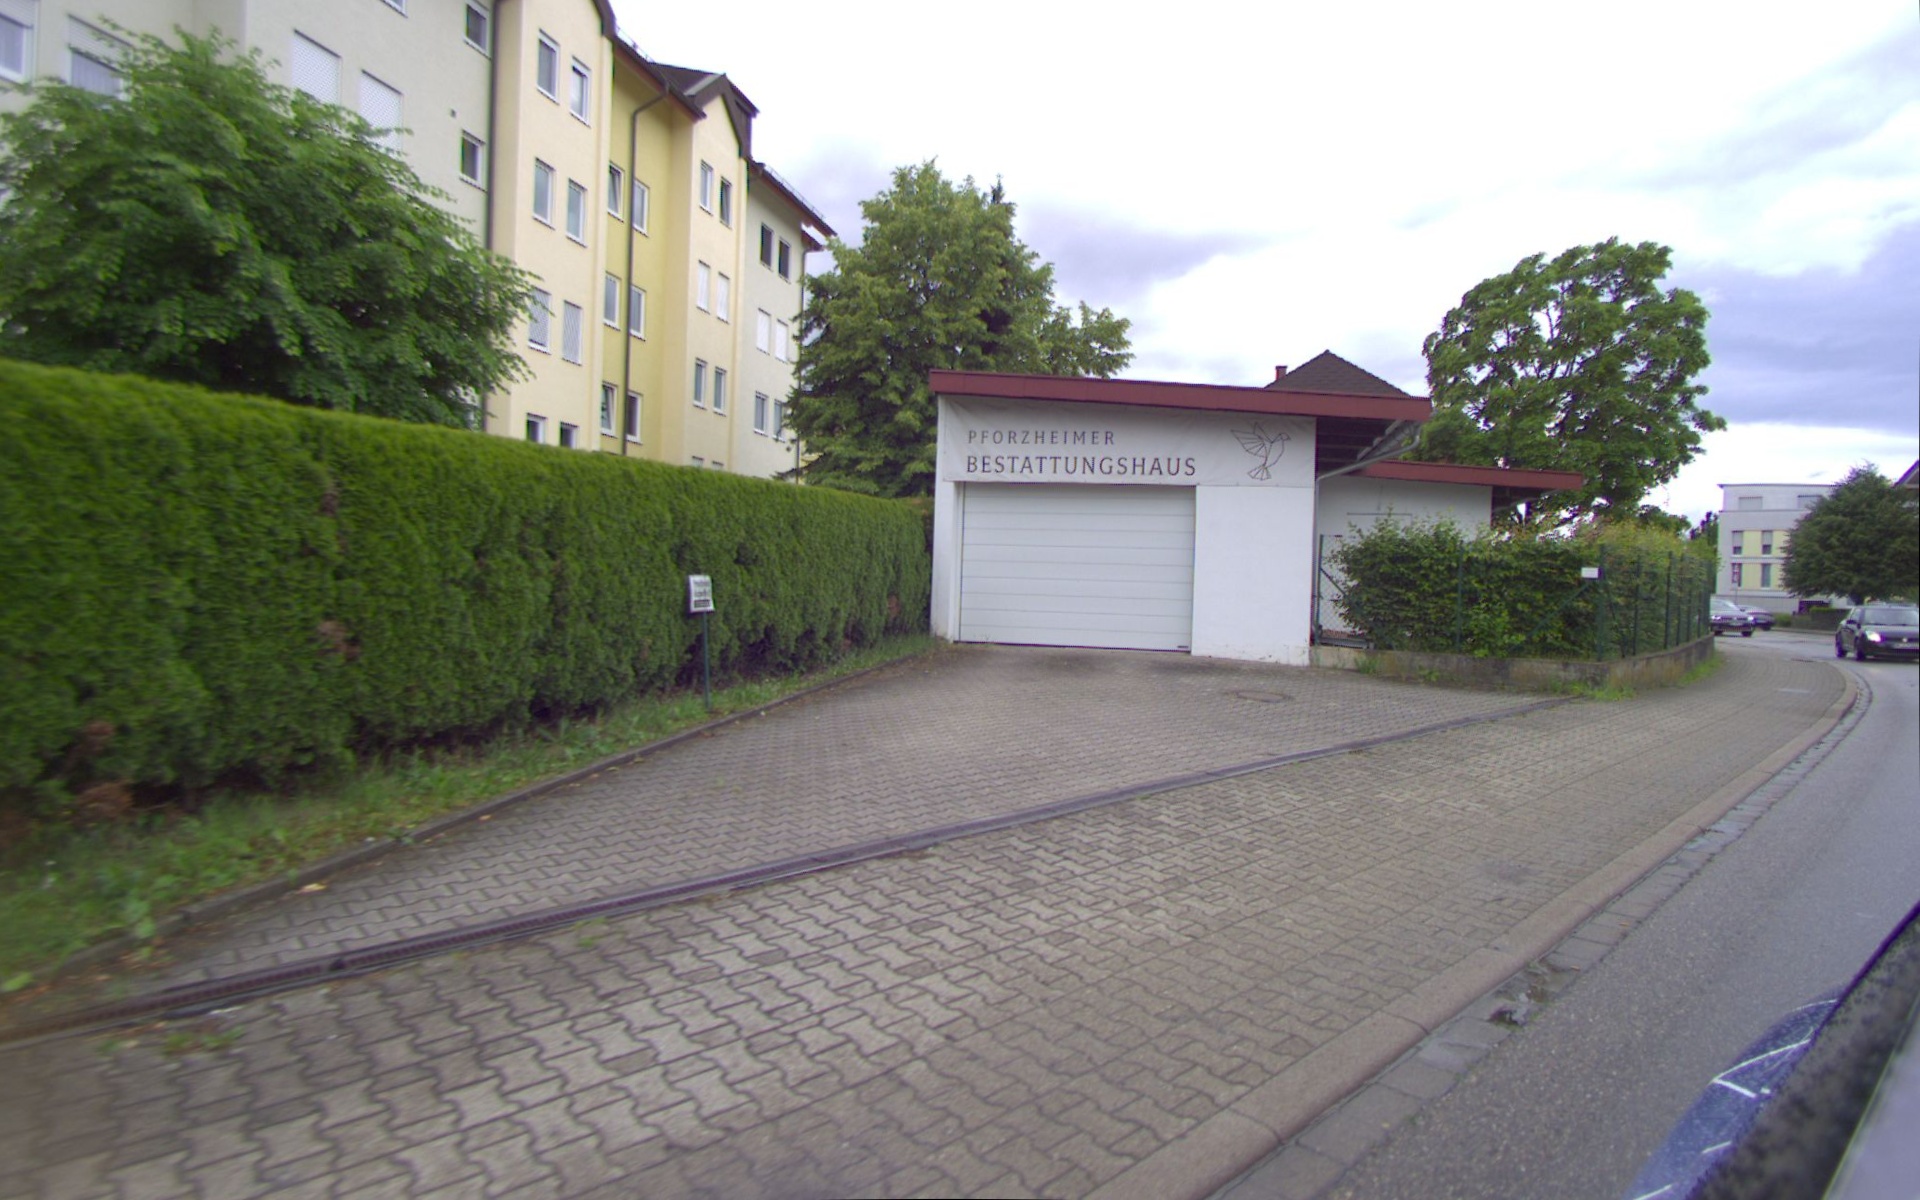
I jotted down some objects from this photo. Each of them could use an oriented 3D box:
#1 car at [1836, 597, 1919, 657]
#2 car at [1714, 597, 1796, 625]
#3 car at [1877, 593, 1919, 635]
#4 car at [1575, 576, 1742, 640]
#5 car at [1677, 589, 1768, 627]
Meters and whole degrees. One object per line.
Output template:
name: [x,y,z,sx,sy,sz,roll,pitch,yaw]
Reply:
car: [25.344,0.677,27.351,1.827,1.467,3.956,1,1,31]
car: [45.822,0.601,58.438,1.852,1.353,3.992,2,2,8]
car: [41.906,0.597,44.282,1.870,1.716,3.954,3,2,32]
car: [22.394,0.212,32.630,3.955,1.578,1.868,6,3,22]
car: [34.182,0.338,45.518,1.815,1.569,3.983,1,1,14]
